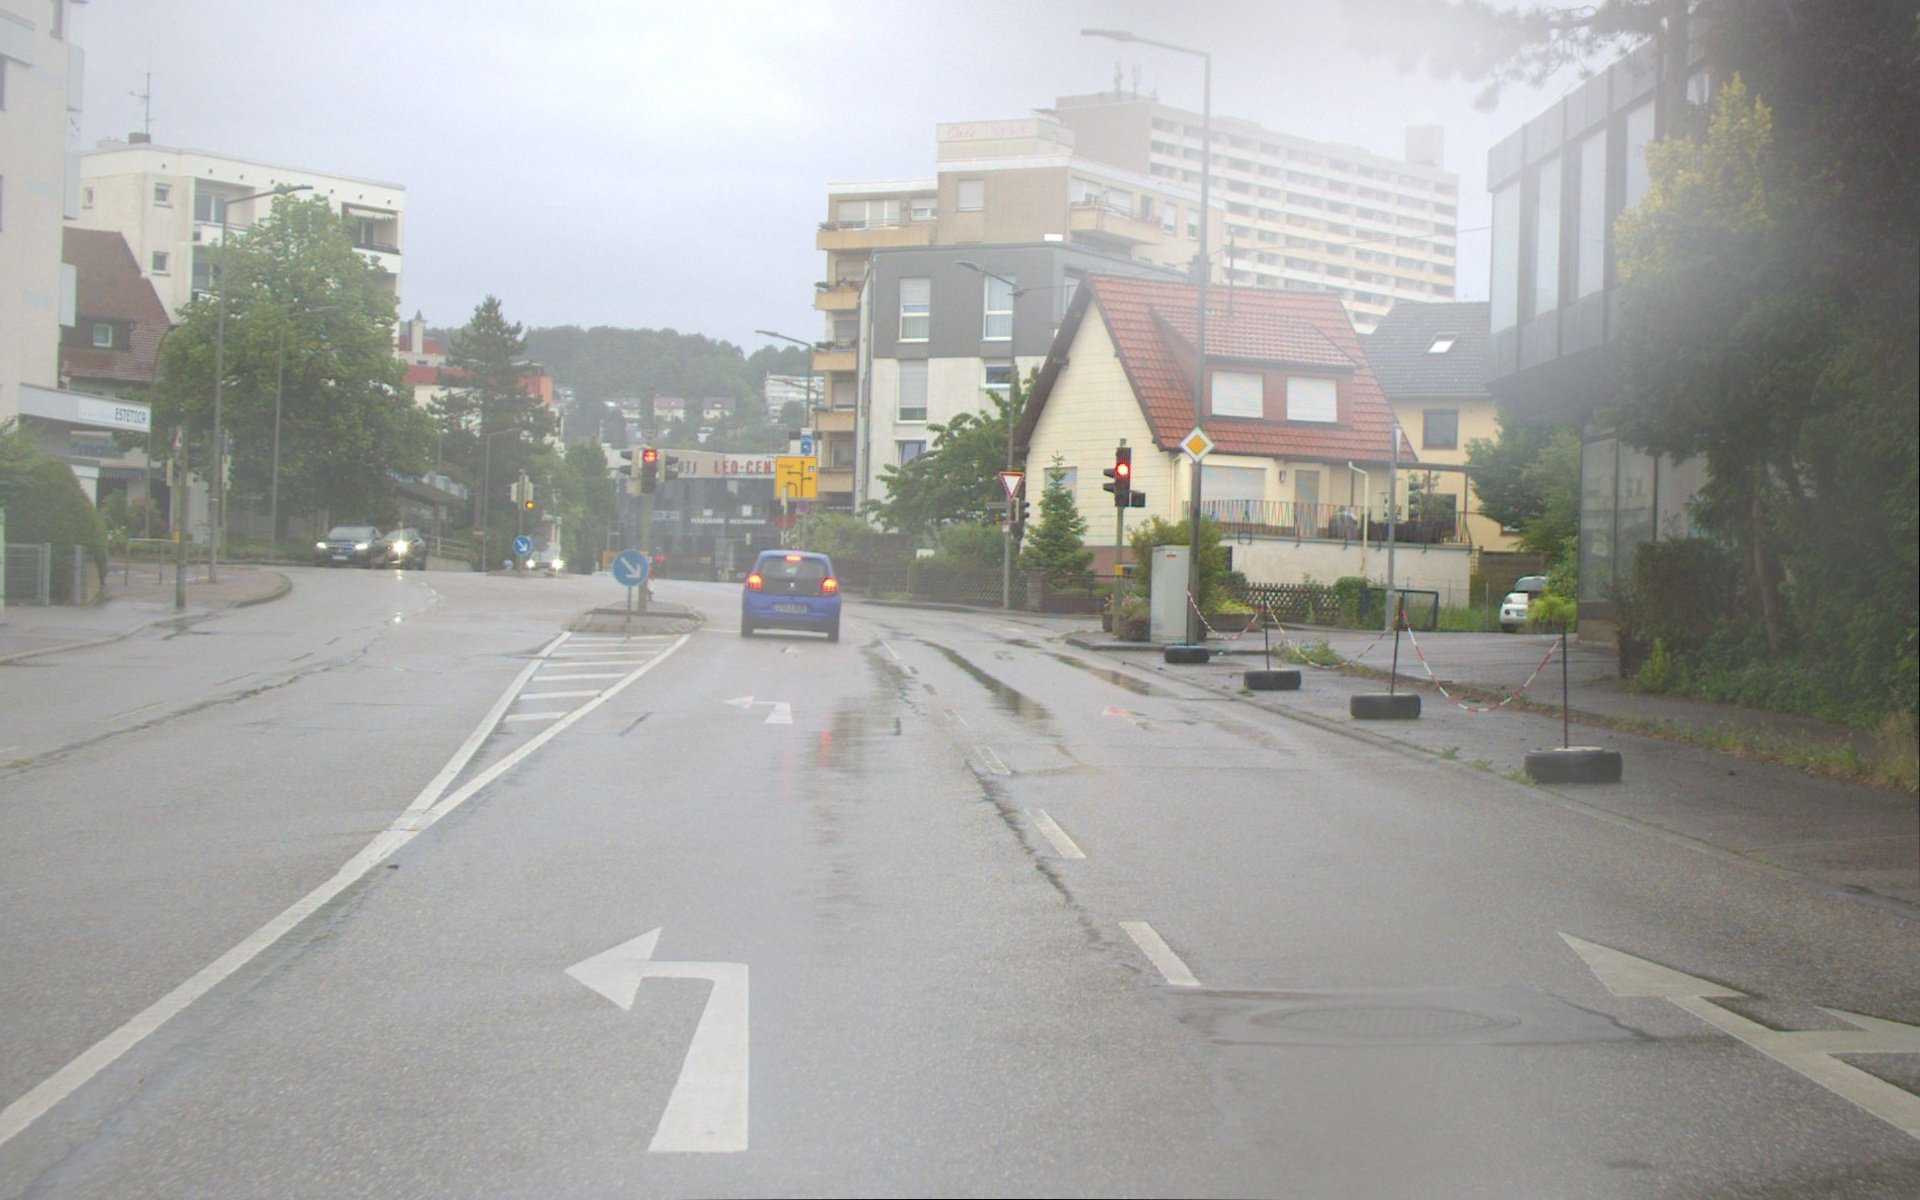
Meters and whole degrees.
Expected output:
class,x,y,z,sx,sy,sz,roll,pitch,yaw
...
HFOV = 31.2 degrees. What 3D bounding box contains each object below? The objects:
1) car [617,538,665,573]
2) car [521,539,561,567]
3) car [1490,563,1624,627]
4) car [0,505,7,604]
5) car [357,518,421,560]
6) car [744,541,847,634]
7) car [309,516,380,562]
class,x,y,z,sx,sy,sz,roll,pitch,yaw
car,-13.869,-1.945,149.691,1.813,1.481,4.189,1,1,-2
car,-22.125,-2.488,181.549,1.778,1.415,3.831,2,1,-3
car,15.104,-0.121,86.837,1.743,1.509,3.992,3,1,35
car,-16.434,-0.733,50.589,4.220,1.469,1.904,2,1,3
car,-20.123,-2.161,121.292,1.715,1.382,4.021,2,1,-3
car,-2.704,-0.226,56.819,1.578,1.406,3.270,3,1,-2
car,-20.405,-2.032,114.156,1.778,1.415,3.831,2,1,-3
